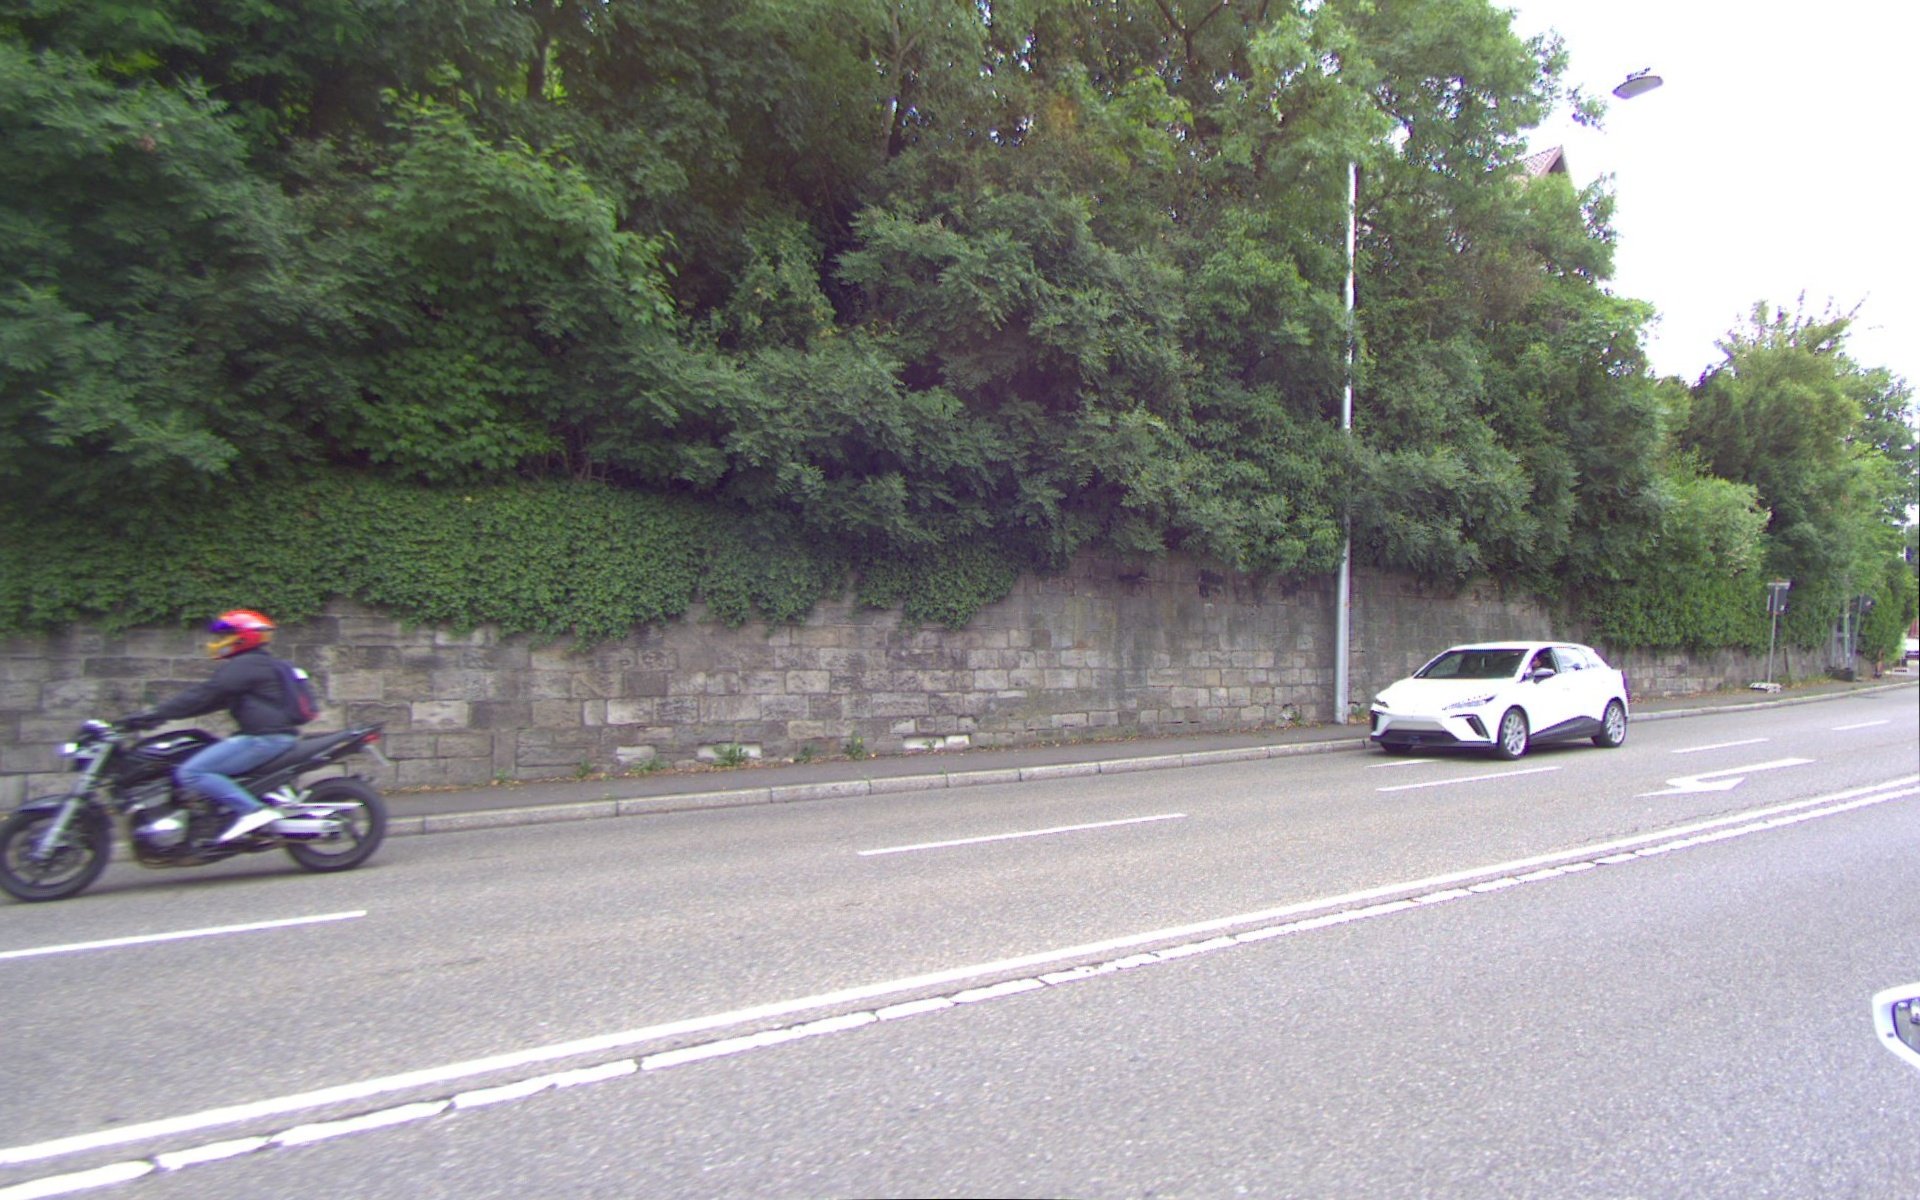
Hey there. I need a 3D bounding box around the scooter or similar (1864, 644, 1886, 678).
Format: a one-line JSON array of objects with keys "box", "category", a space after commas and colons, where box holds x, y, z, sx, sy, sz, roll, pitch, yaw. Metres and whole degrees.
[{"box": [34.001, 2.253, 37.326, 0.532, 1.221, 1.272, 2, 0, 44], "category": "scooter or similar"}]

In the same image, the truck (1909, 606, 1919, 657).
[{"box": [71.659, 2.337, 72.877, 2.908, 3.747, 9.881, 1, -1, 37], "category": "truck"}]

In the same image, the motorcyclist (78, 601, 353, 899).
[{"box": [-4.704, 0.900, 6.471, 1.323, 1.727, 0.645, 1, -4, -31], "category": "motorcyclist"}]

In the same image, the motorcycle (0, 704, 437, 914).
[{"box": [-4.673, 1.259, 6.462, 2.281, 1.087, 0.647, 1, -4, -31], "category": "motorcycle"}]

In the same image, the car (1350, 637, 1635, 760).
[{"box": [7.485, 1.308, 14.017, 4.058, 1.485, 1.772, 2, -5, -34], "category": "car"}]

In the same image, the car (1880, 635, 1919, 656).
[{"box": [65.883, 3.170, 70.201, 1.871, 1.400, 3.986, -2, -3, 36], "category": "car"}]
